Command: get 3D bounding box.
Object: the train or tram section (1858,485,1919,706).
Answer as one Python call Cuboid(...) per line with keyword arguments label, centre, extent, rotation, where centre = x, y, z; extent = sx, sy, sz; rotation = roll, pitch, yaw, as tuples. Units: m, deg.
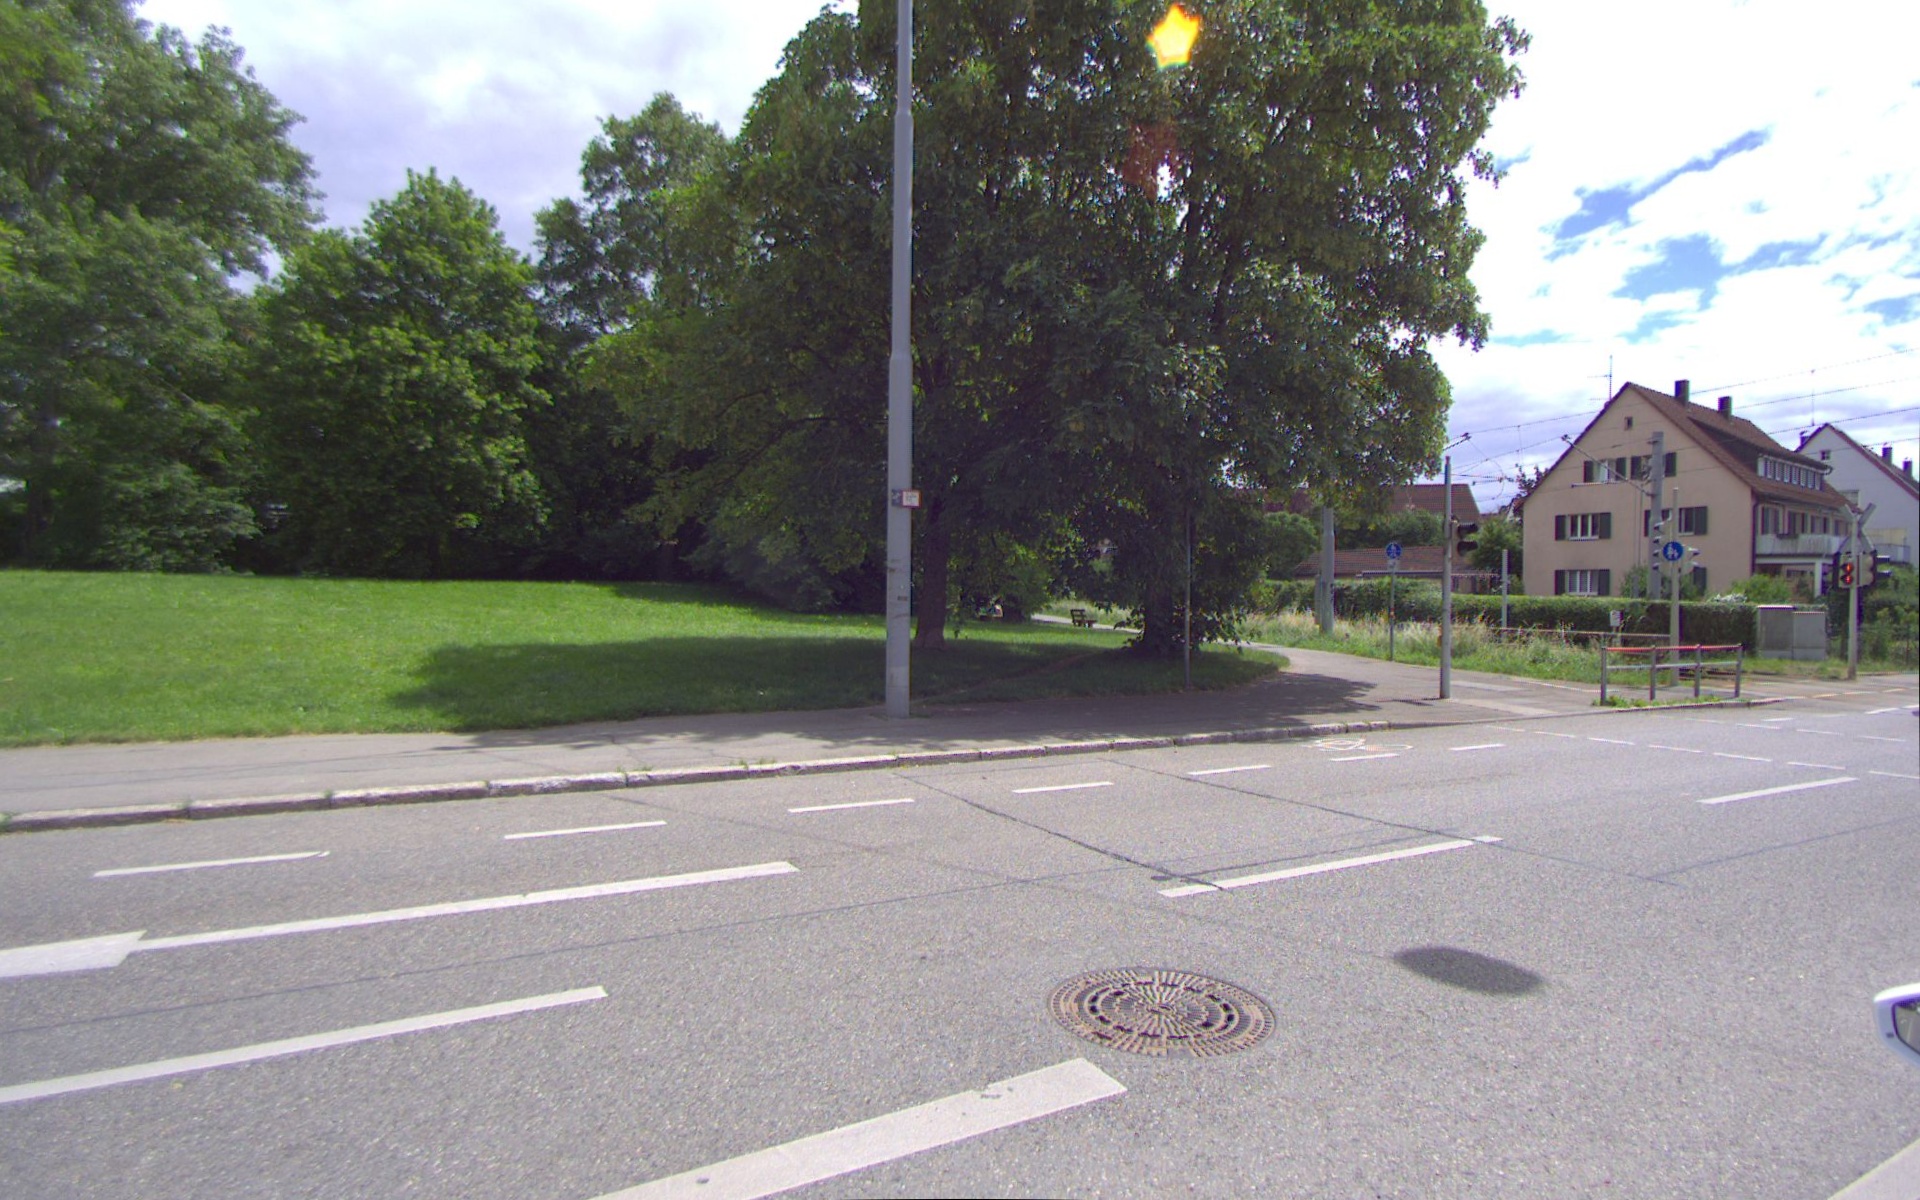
Cuboid(label="train or tram section", centre=(18.086, 0.022, 14.416), extent=(2.816, 3.772, 7.707), rotation=(2, 1, -7))
